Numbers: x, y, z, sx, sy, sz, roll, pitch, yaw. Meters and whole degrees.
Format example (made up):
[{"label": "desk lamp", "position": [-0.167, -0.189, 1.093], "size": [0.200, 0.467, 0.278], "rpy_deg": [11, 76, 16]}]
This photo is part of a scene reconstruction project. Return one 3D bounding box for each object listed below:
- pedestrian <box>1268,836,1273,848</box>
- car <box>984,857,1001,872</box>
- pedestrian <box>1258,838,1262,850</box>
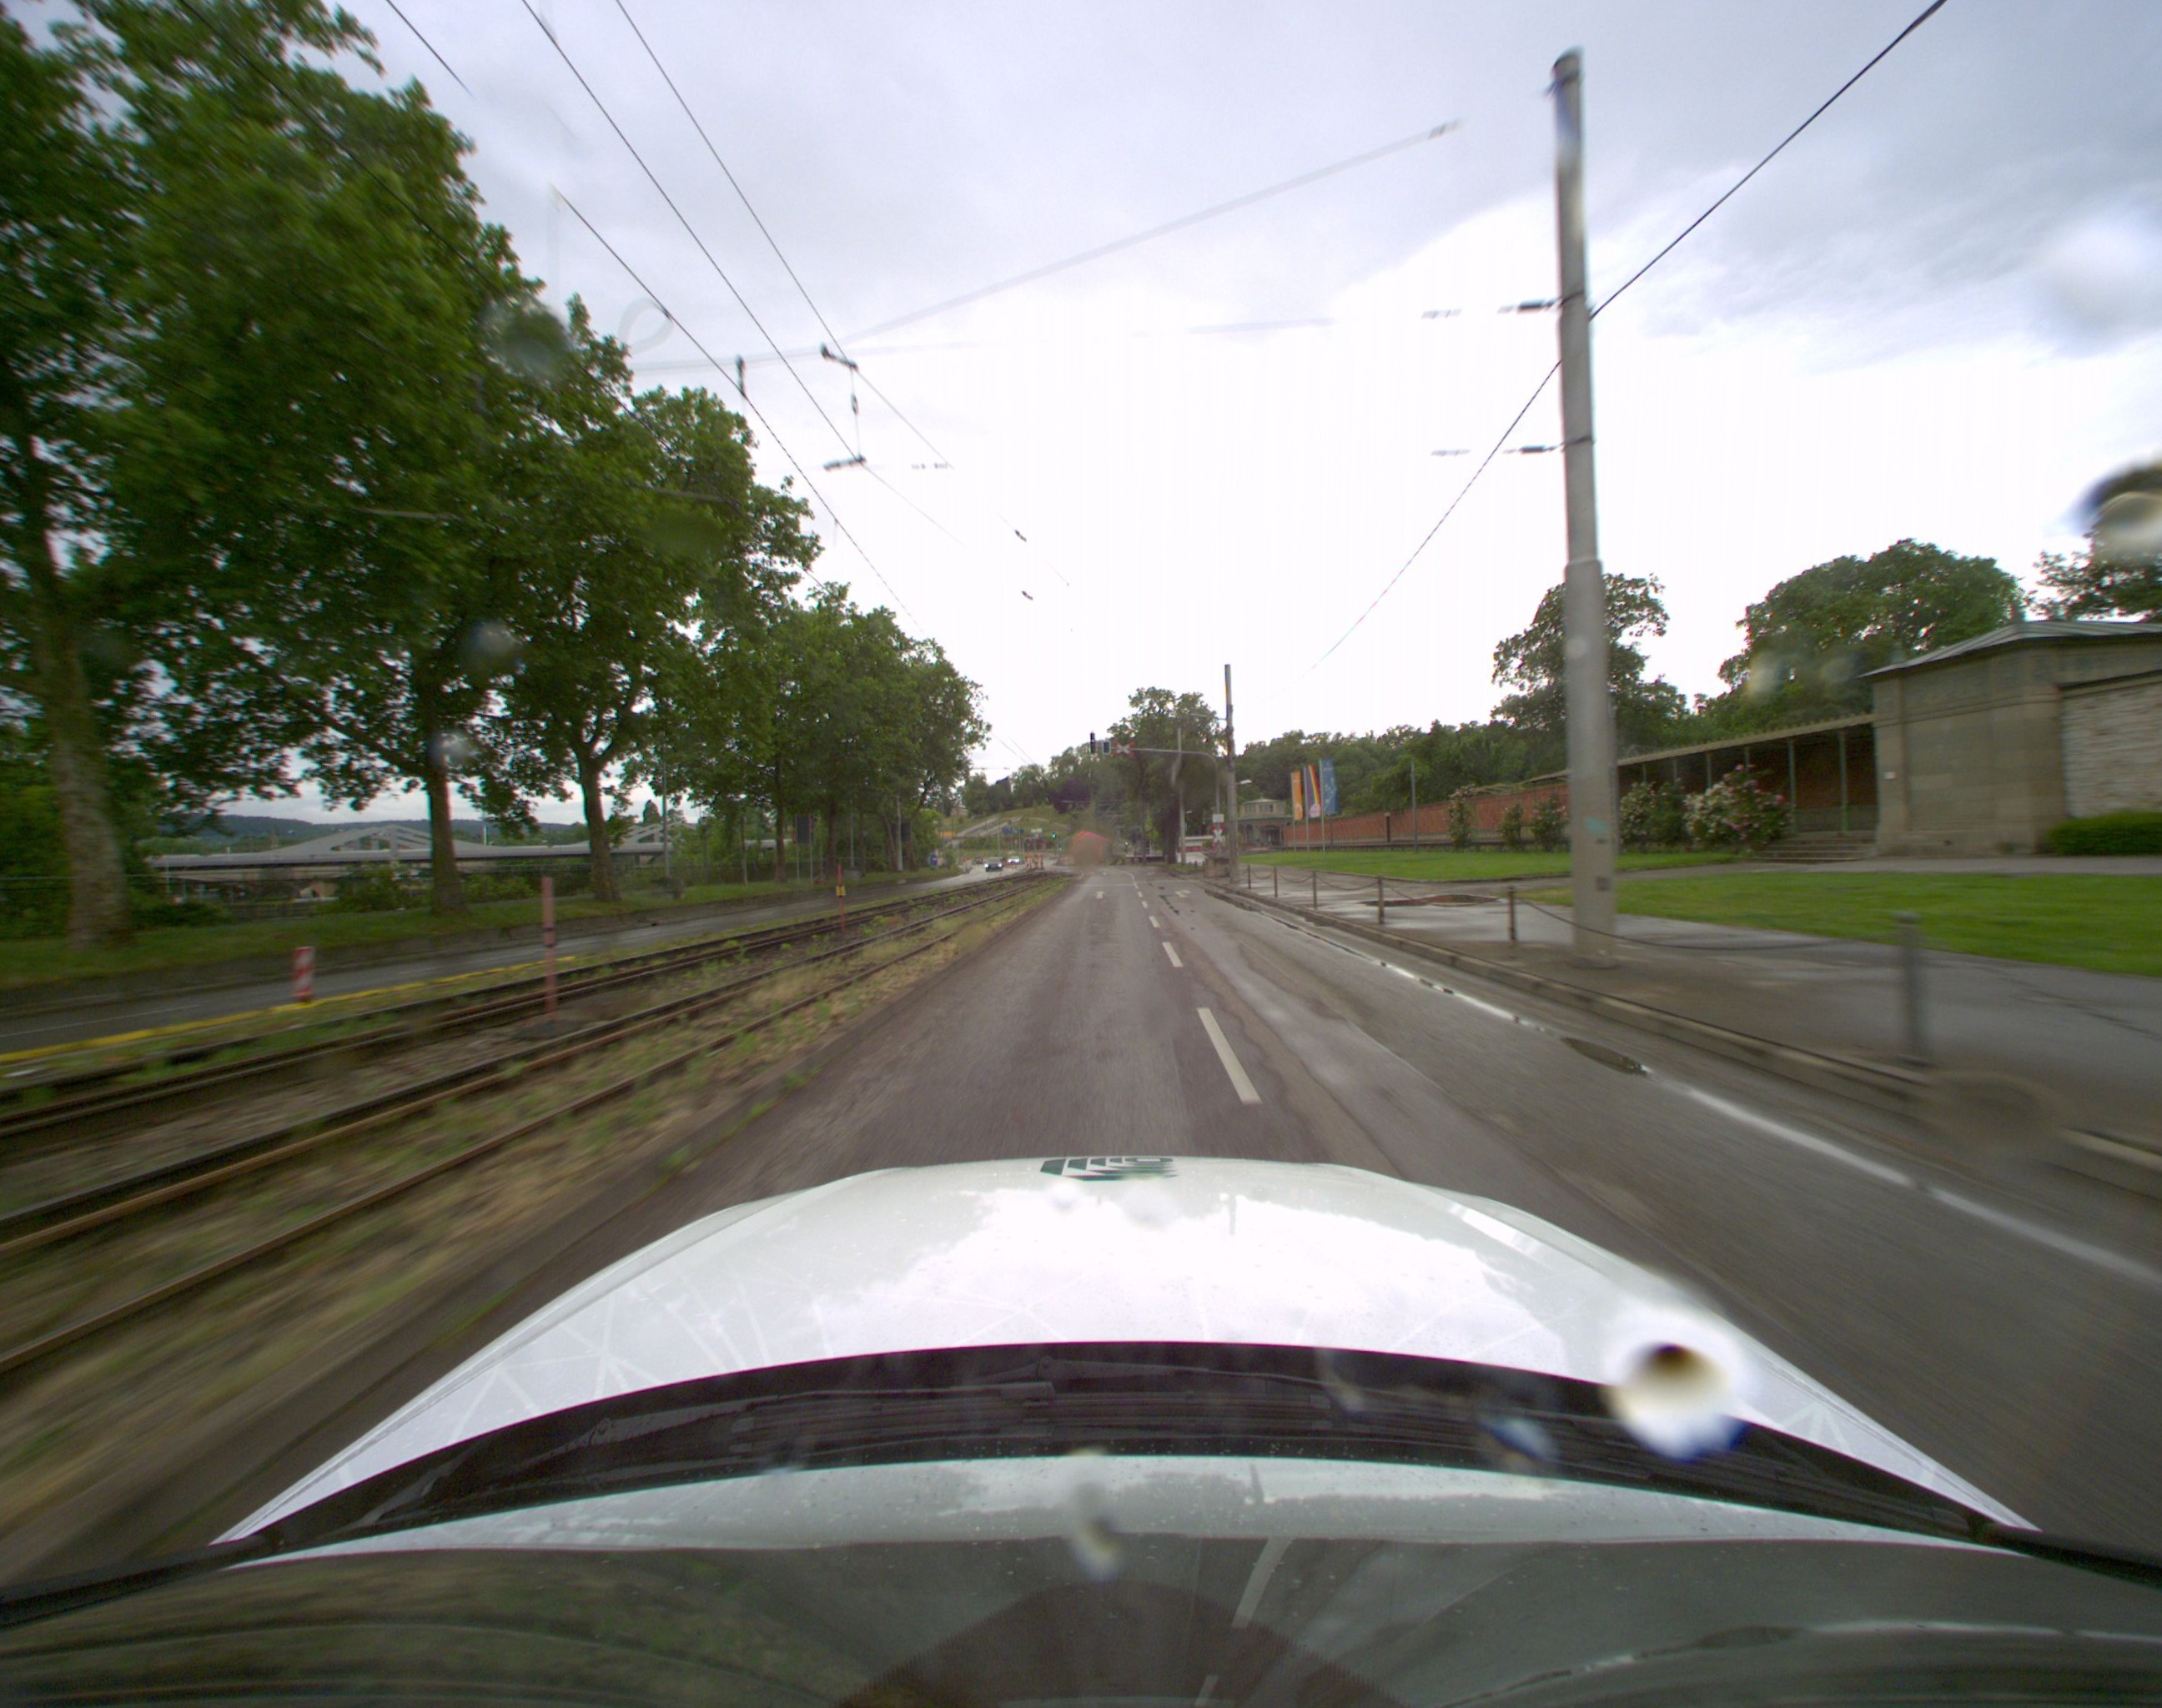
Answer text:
[{"label": "pedestrian", "position": [27.922, -1.797, 120.083], "size": [0.544, 1.657, 0.472], "rpy_deg": [-2, -2, 37]}, {"label": "car", "position": [-9.564, 1.106, 88.202], "size": [1.744, 1.430, 4.552], "rpy_deg": [-3, 0, -5]}, {"label": "pedestrian", "position": [26.642, -1.457, 121.249], "size": [0.527, 1.711, 0.698], "rpy_deg": [0, -2, 14]}]
